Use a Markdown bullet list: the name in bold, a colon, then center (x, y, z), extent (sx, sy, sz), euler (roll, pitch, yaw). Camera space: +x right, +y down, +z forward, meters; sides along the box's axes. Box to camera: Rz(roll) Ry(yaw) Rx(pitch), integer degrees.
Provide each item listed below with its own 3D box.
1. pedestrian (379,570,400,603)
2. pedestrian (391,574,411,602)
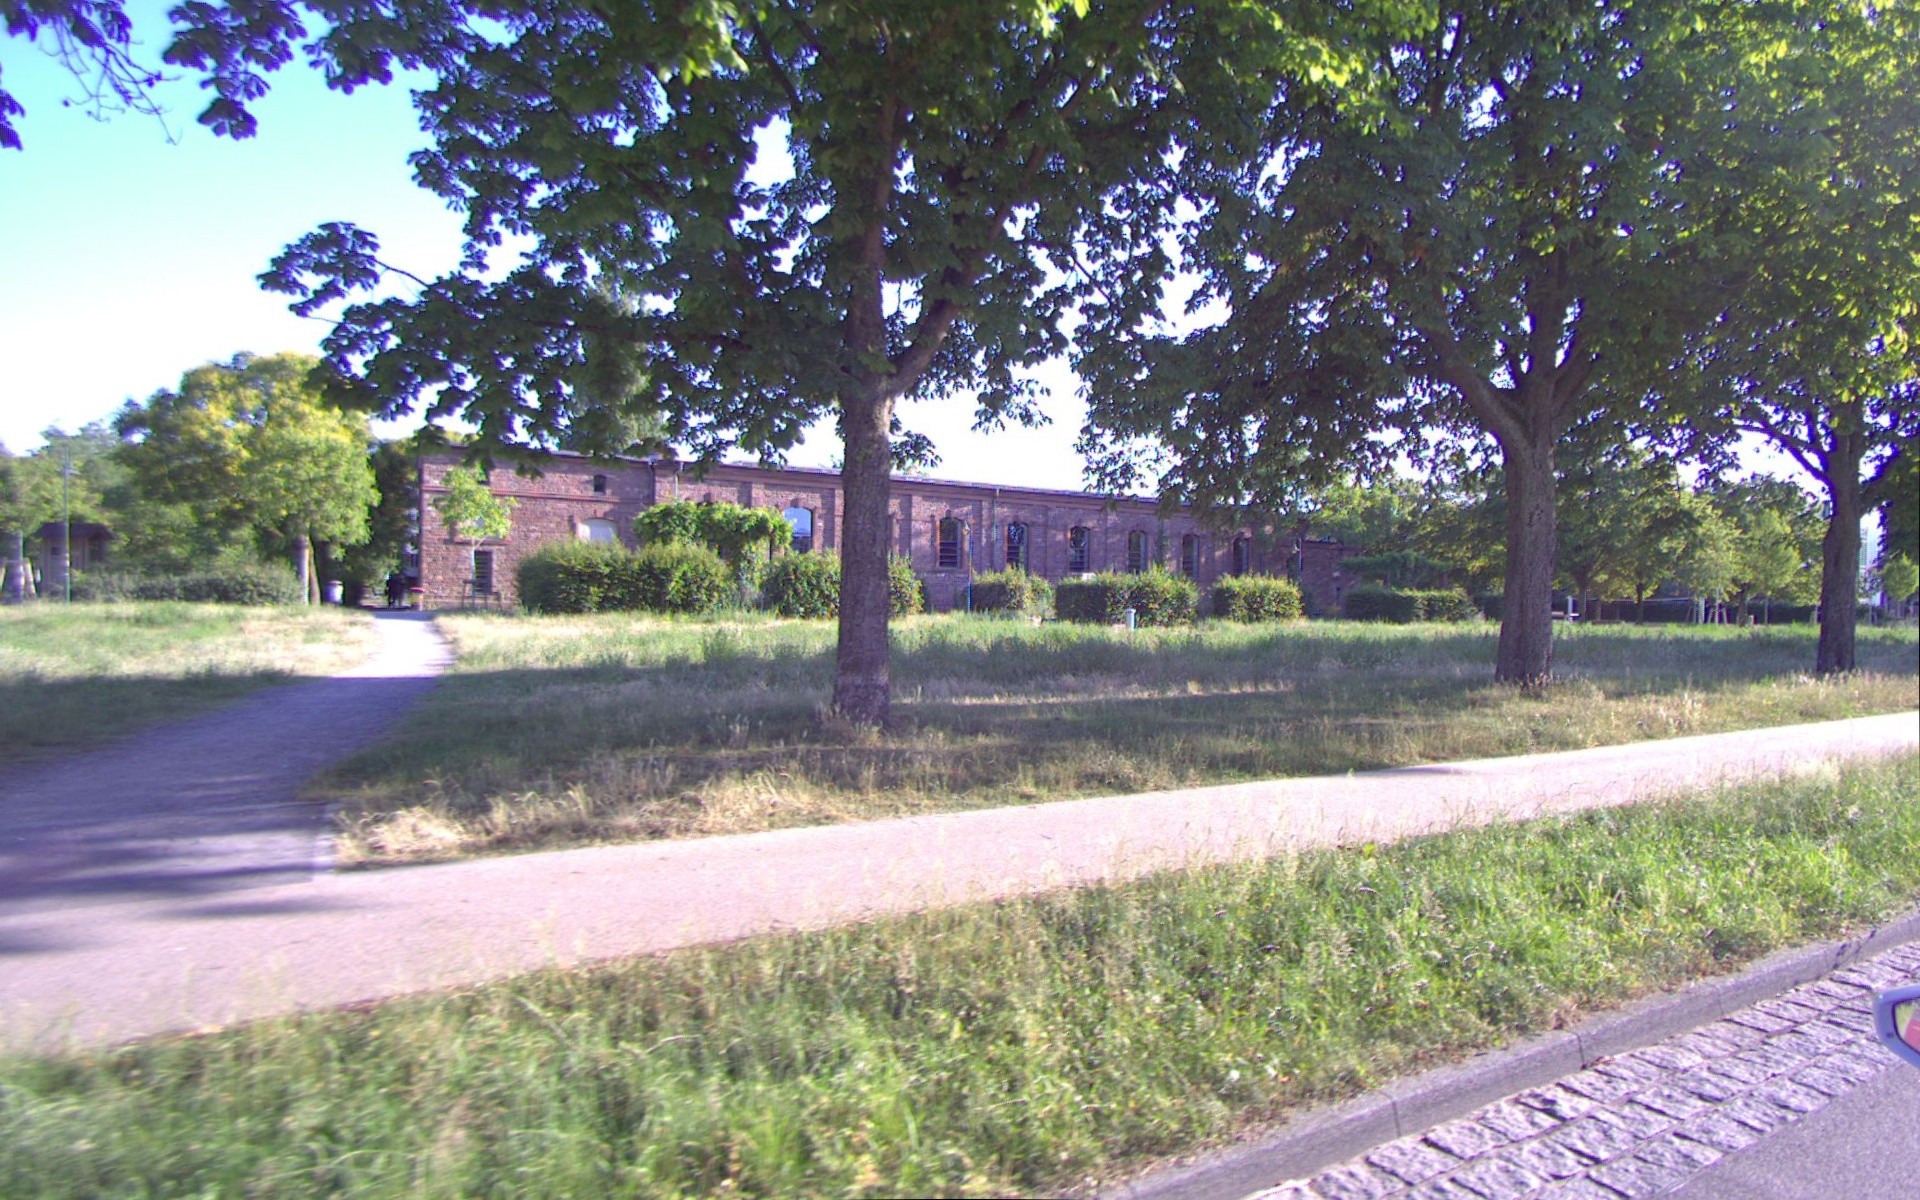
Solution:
- **pedestrian**: center (-31.184, -0.746, 54.933), extent (0.824, 1.735, 0.781), euler (2, 1, -20)
- **pedestrian**: center (-30.997, -0.650, 55.722), extent (0.824, 1.532, 0.781), euler (2, 1, -20)
